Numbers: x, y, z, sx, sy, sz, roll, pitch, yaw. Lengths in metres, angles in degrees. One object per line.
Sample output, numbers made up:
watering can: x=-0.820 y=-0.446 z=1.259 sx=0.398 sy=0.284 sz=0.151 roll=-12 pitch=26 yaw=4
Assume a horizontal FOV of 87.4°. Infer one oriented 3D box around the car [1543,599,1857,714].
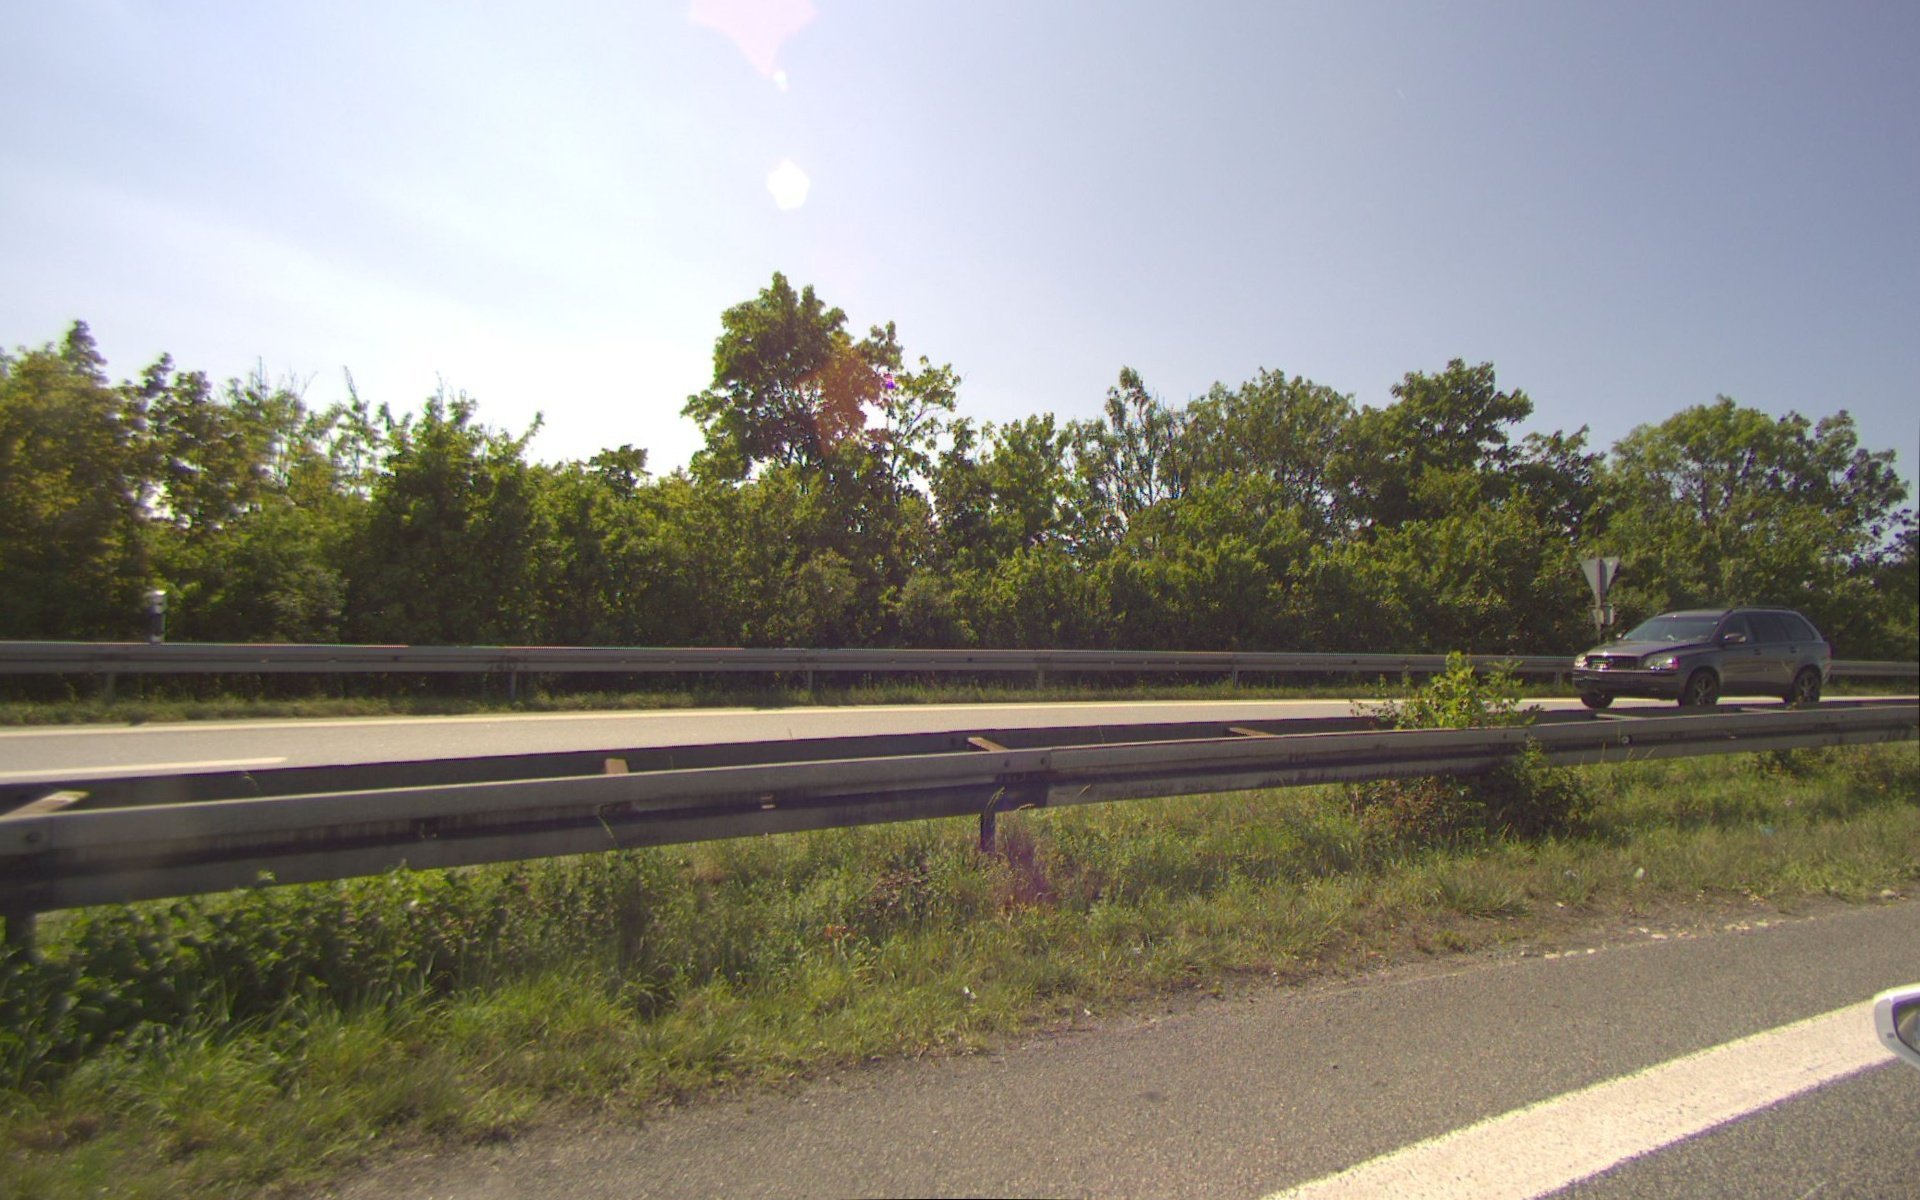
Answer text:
car: x=12.707 y=0.931 z=17.235 sx=5.122 sy=1.754 sz=1.989 roll=1 pitch=-1 yaw=-22
